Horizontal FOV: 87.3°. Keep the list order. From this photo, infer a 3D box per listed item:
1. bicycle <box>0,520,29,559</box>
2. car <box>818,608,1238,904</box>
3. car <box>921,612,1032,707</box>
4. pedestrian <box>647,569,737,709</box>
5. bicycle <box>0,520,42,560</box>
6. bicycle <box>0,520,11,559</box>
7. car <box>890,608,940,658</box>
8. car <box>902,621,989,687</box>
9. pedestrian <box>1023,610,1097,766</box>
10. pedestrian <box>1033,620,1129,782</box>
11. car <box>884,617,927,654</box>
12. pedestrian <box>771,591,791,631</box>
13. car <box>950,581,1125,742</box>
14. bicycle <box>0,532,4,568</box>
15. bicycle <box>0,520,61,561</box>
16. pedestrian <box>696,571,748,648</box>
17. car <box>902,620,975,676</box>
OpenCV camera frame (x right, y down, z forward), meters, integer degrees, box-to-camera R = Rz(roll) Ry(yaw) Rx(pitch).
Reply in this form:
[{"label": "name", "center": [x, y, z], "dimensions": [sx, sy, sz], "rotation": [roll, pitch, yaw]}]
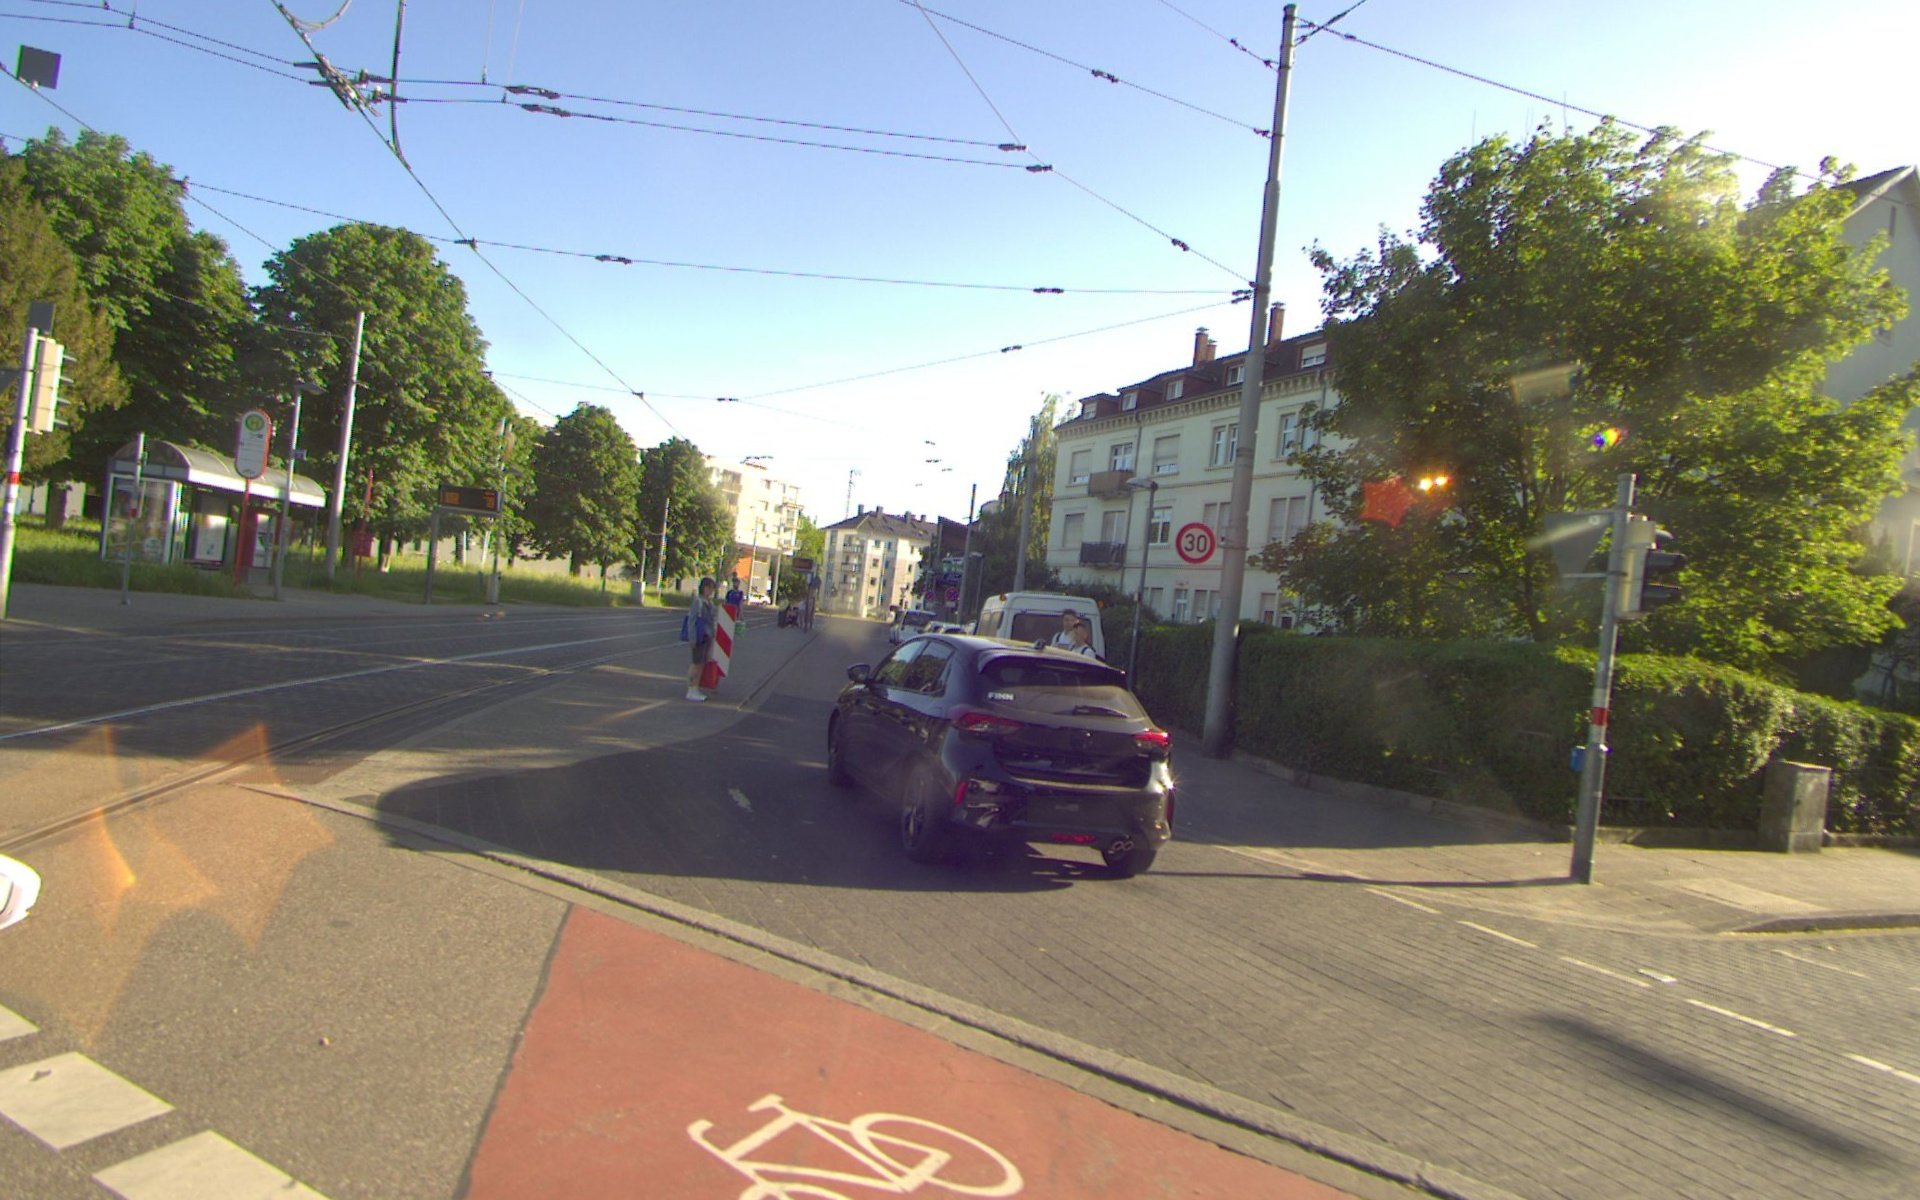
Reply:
[{"label": "bicycle", "center": [-24.460, -1.599, 24.912], "dimensions": [1.859, 0.917, 0.655], "rotation": [8, 0, -25]}, {"label": "car", "center": [0.185, 0.962, 7.710], "dimensions": [1.780, 1.458, 3.925], "rotation": [8, -1, -17]}, {"label": "car", "center": [0.291, 1.313, 23.508], "dimensions": [1.776, 1.784, 3.885], "rotation": [7, -1, -9]}, {"label": "pedestrian", "center": [-3.521, 0.511, 13.195], "dimensions": [0.723, 1.713, 0.692], "rotation": [7, 0, -41]}, {"label": "bicycle", "center": [-24.902, -1.627, 25.772], "dimensions": [1.859, 0.917, 0.655], "rotation": [8, 0, -25]}, {"label": "bicycle", "center": [-24.134, -1.587, 24.096], "dimensions": [1.859, 0.917, 0.655], "rotation": [8, 0, -25]}, {"label": "car", "center": [-2.115, 1.482, 46.455], "dimensions": [1.775, 1.950, 3.935], "rotation": [7, -1, -7]}, {"label": "car", "center": [-0.495, 1.502, 29.246], "dimensions": [1.776, 1.494, 3.933], "rotation": [8, -1, -10]}, {"label": "pedestrian", "center": [1.295, 1.106, 12.922], "dimensions": [0.691, 1.869, 0.701], "rotation": [7, 0, 8]}, {"label": "pedestrian", "center": [1.433, 1.196, 11.956], "dimensions": [0.694, 1.814, 0.612], "rotation": [7, 0, -32]}, {"label": "car", "center": [-2.859, 1.777, 51.932], "dimensions": [1.775, 1.559, 3.935], "rotation": [7, -1, -7]}, {"label": "pedestrian", "center": [-8.449, 0.525, 47.519], "dimensions": [0.669, 1.814, 0.995], "rotation": [7, 0, -6]}, {"label": "car", "center": [1.232, 1.049, 18.270], "dimensions": [2.061, 2.303, 4.304], "rotation": [8, -2, -7]}, {"label": "bicycle", "center": [-11.287, -0.271, 10.892], "dimensions": [0.819, 1.072, 1.869], "rotation": [8, -1, -29]}, {"label": "bicycle", "center": [-25.177, -1.630, 26.636], "dimensions": [1.859, 0.917, 0.655], "rotation": [8, 0, -25]}, {"label": "pedestrian", "center": [-6.008, 0.247, 25.478], "dimensions": [0.944, 1.814, 0.995], "rotation": [7, 0, -6]}, {"label": "car", "center": [-0.795, 1.567, 34.136], "dimensions": [1.776, 1.494, 3.933], "rotation": [8, -1, -10]}]
